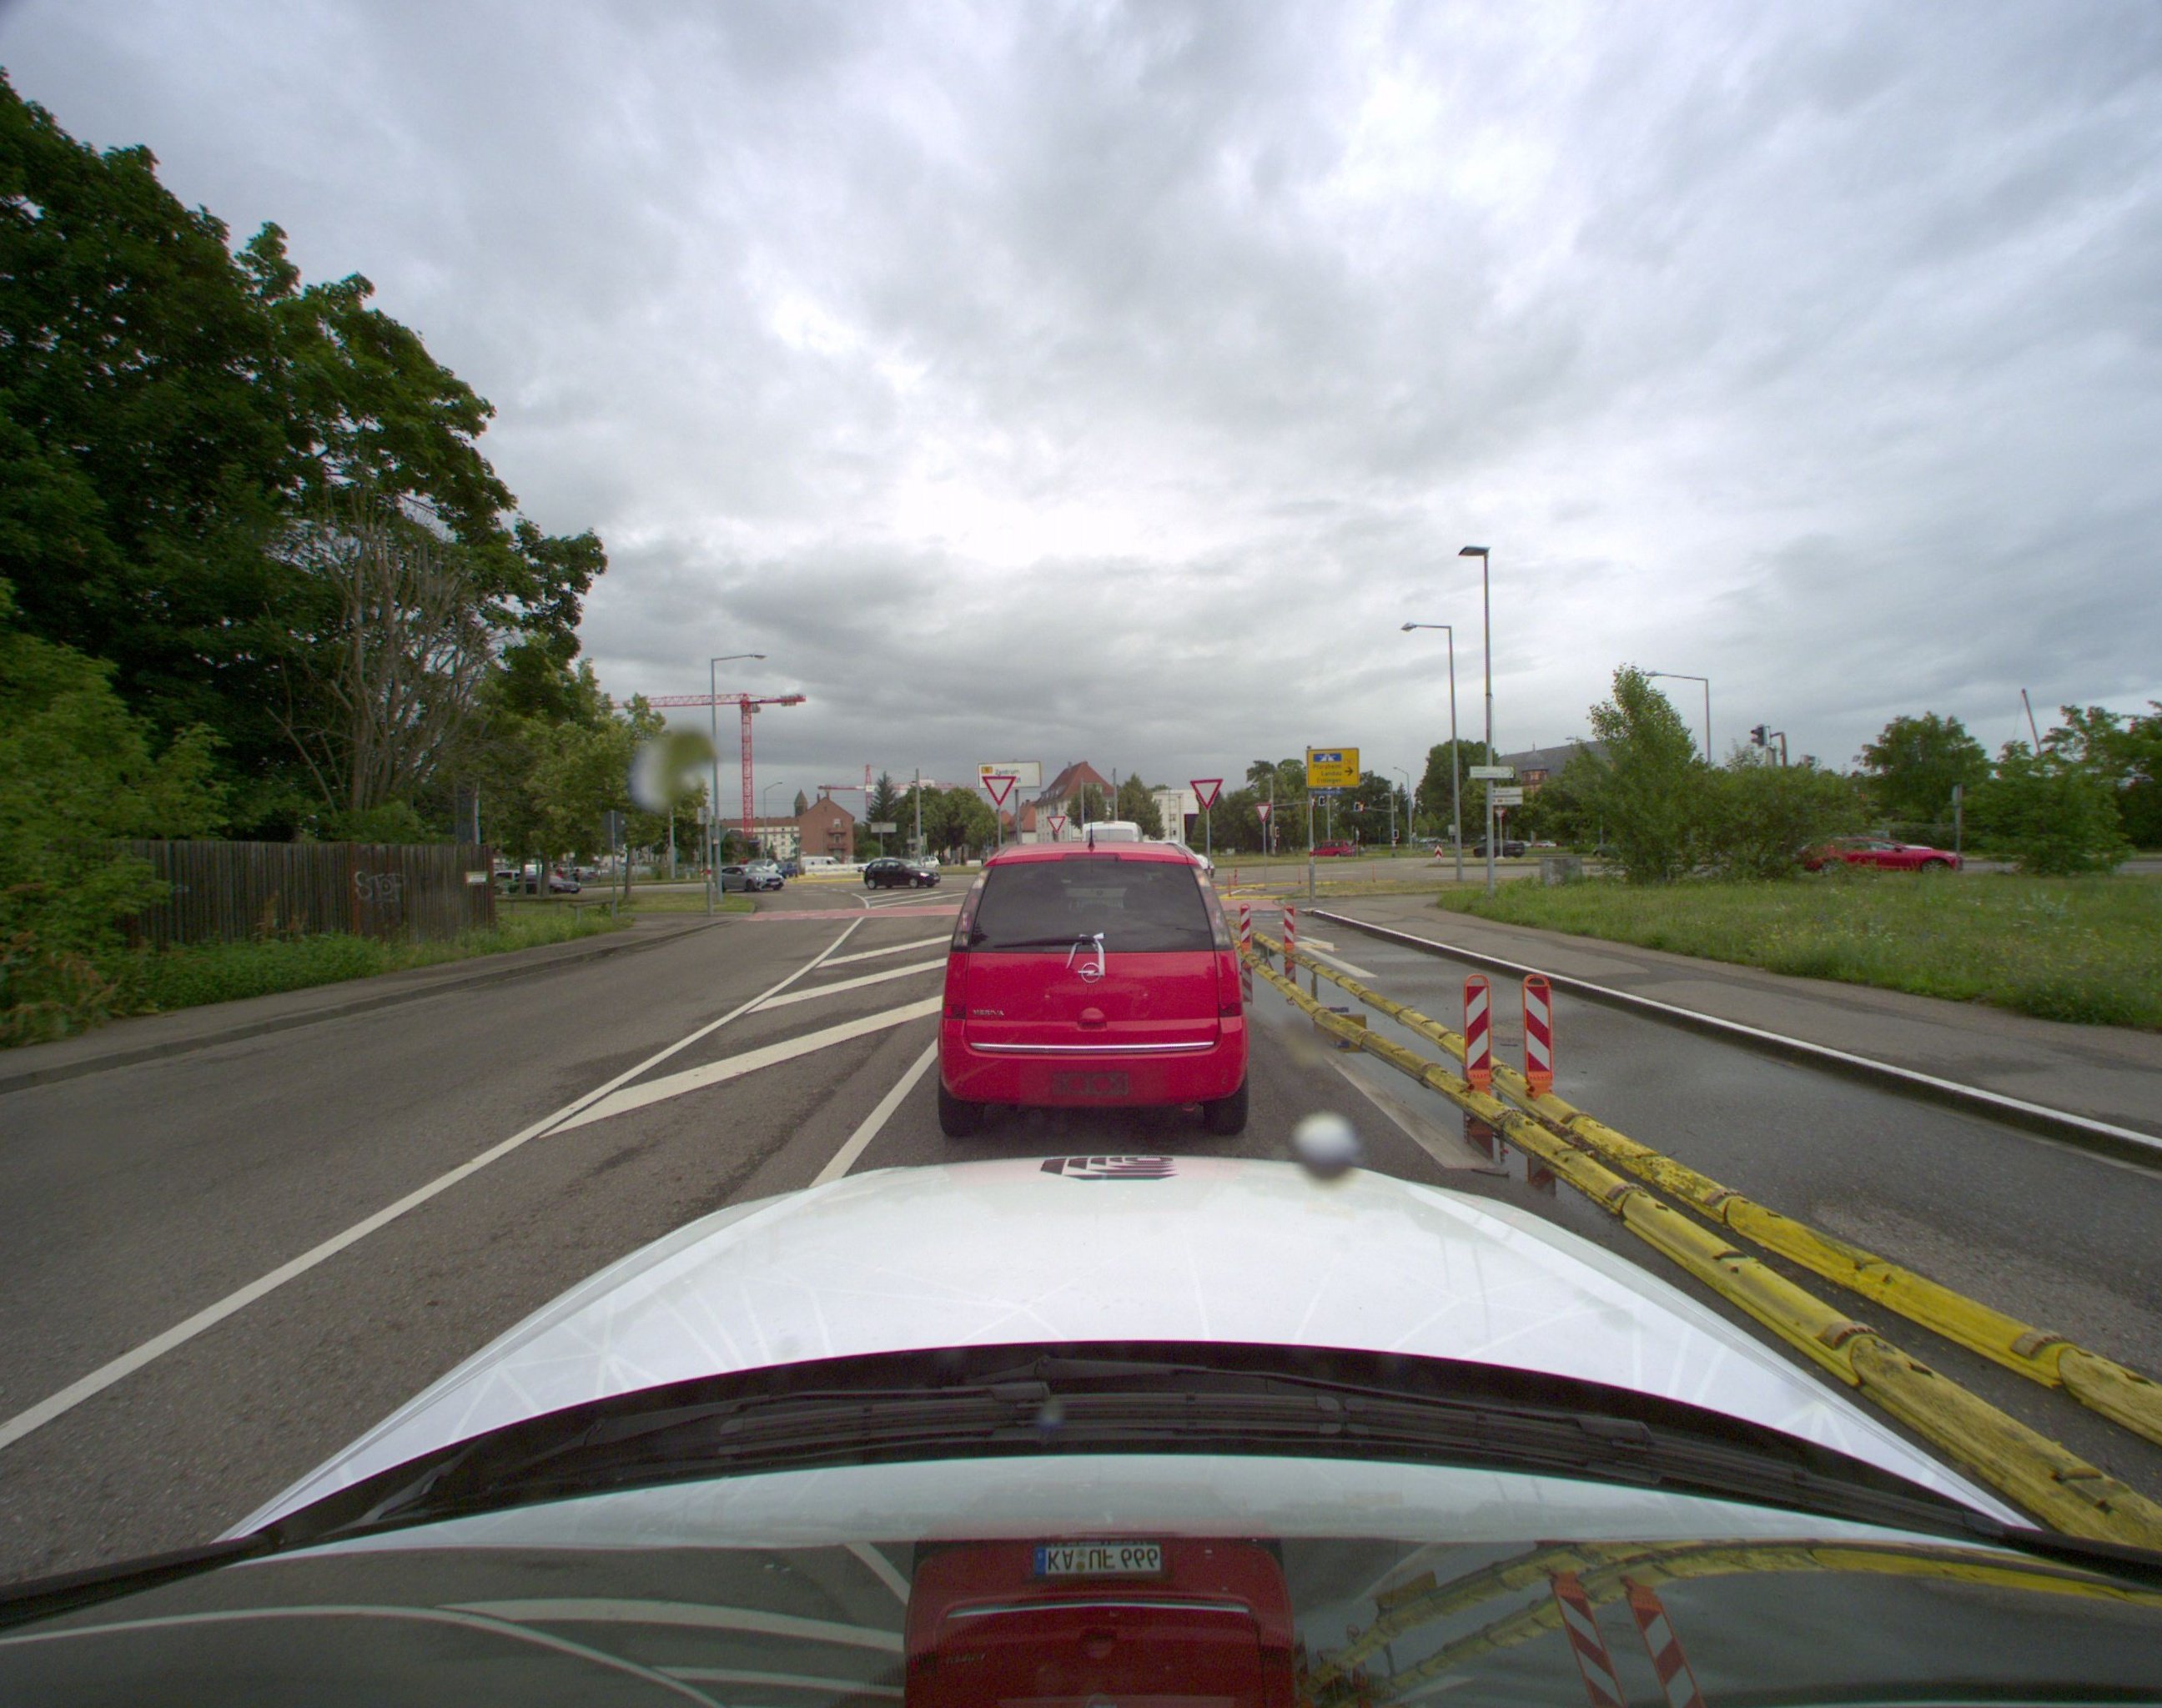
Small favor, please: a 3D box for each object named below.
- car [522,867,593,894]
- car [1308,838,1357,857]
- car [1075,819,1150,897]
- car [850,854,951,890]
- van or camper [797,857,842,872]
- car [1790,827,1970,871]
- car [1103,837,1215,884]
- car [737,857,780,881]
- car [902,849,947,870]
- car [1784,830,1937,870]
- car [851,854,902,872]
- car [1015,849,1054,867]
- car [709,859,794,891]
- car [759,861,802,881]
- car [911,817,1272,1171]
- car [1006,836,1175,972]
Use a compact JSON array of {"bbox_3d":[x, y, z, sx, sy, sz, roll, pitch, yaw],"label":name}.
[{"bbox_3d":[-35.712,1.820,55.538,3.954,1.684,2.010,-2,0,19],"label":"car"},{"bbox_3d":[27.832,-0.723,90.363,2.125,1.917,4.837,-2,0,-36],"label":"car"},{"bbox_3d":[1.229,0.120,29.070,2.183,2.540,4.973,-1,0,7],"label":"car"},{"bbox_3d":[-8.947,0.896,40.421,4.388,1.602,2.110,-2,0,20],"label":"car"},{"bbox_3d":[-39.417,1.540,122.896,6.135,2.013,2.007,-2,0,12],"label":"van or camper"},{"bbox_3d":[29.106,-0.168,29.871,4.302,1.464,2.012,-2,0,28],"label":"car"},{"bbox_3d":[3.586,0.293,37.042,4.802,1.900,2.105,-2,0,10],"label":"car"},{"bbox_3d":[-24.629,1.094,62.310,1.928,1.684,4.180,-2,0,-6],"label":"car"},{"bbox_3d":[-16.448,0.599,85.875,1.974,2.013,4.509,-2,0,37],"label":"car"},{"bbox_3d":[31.171,-0.145,32.700,4.303,1.464,1.873,-2,0,44],"label":"car"},{"bbox_3d":[-20.388,0.860,81.433,1.974,1.635,4.705,-2,0,37],"label":"car"},{"bbox_3d":[-5.837,0.486,101.666,4.480,2.013,1.986,-2,0,-21],"label":"car"},{"bbox_3d":[-17.929,1.174,44.288,4.383,1.602,2.112,-2,0,34],"label":"car"},{"bbox_3d":[-25.225,1.385,68.525,1.923,1.489,4.002,-2,0,2],"label":"car"},{"bbox_3d":[0.102,0.647,5.612,1.667,1.640,3.629,-1,0,2],"label":"car"},{"bbox_3d":[0.188,0.610,12.315,2.052,1.648,4.609,-1,0,2],"label":"car"}]
